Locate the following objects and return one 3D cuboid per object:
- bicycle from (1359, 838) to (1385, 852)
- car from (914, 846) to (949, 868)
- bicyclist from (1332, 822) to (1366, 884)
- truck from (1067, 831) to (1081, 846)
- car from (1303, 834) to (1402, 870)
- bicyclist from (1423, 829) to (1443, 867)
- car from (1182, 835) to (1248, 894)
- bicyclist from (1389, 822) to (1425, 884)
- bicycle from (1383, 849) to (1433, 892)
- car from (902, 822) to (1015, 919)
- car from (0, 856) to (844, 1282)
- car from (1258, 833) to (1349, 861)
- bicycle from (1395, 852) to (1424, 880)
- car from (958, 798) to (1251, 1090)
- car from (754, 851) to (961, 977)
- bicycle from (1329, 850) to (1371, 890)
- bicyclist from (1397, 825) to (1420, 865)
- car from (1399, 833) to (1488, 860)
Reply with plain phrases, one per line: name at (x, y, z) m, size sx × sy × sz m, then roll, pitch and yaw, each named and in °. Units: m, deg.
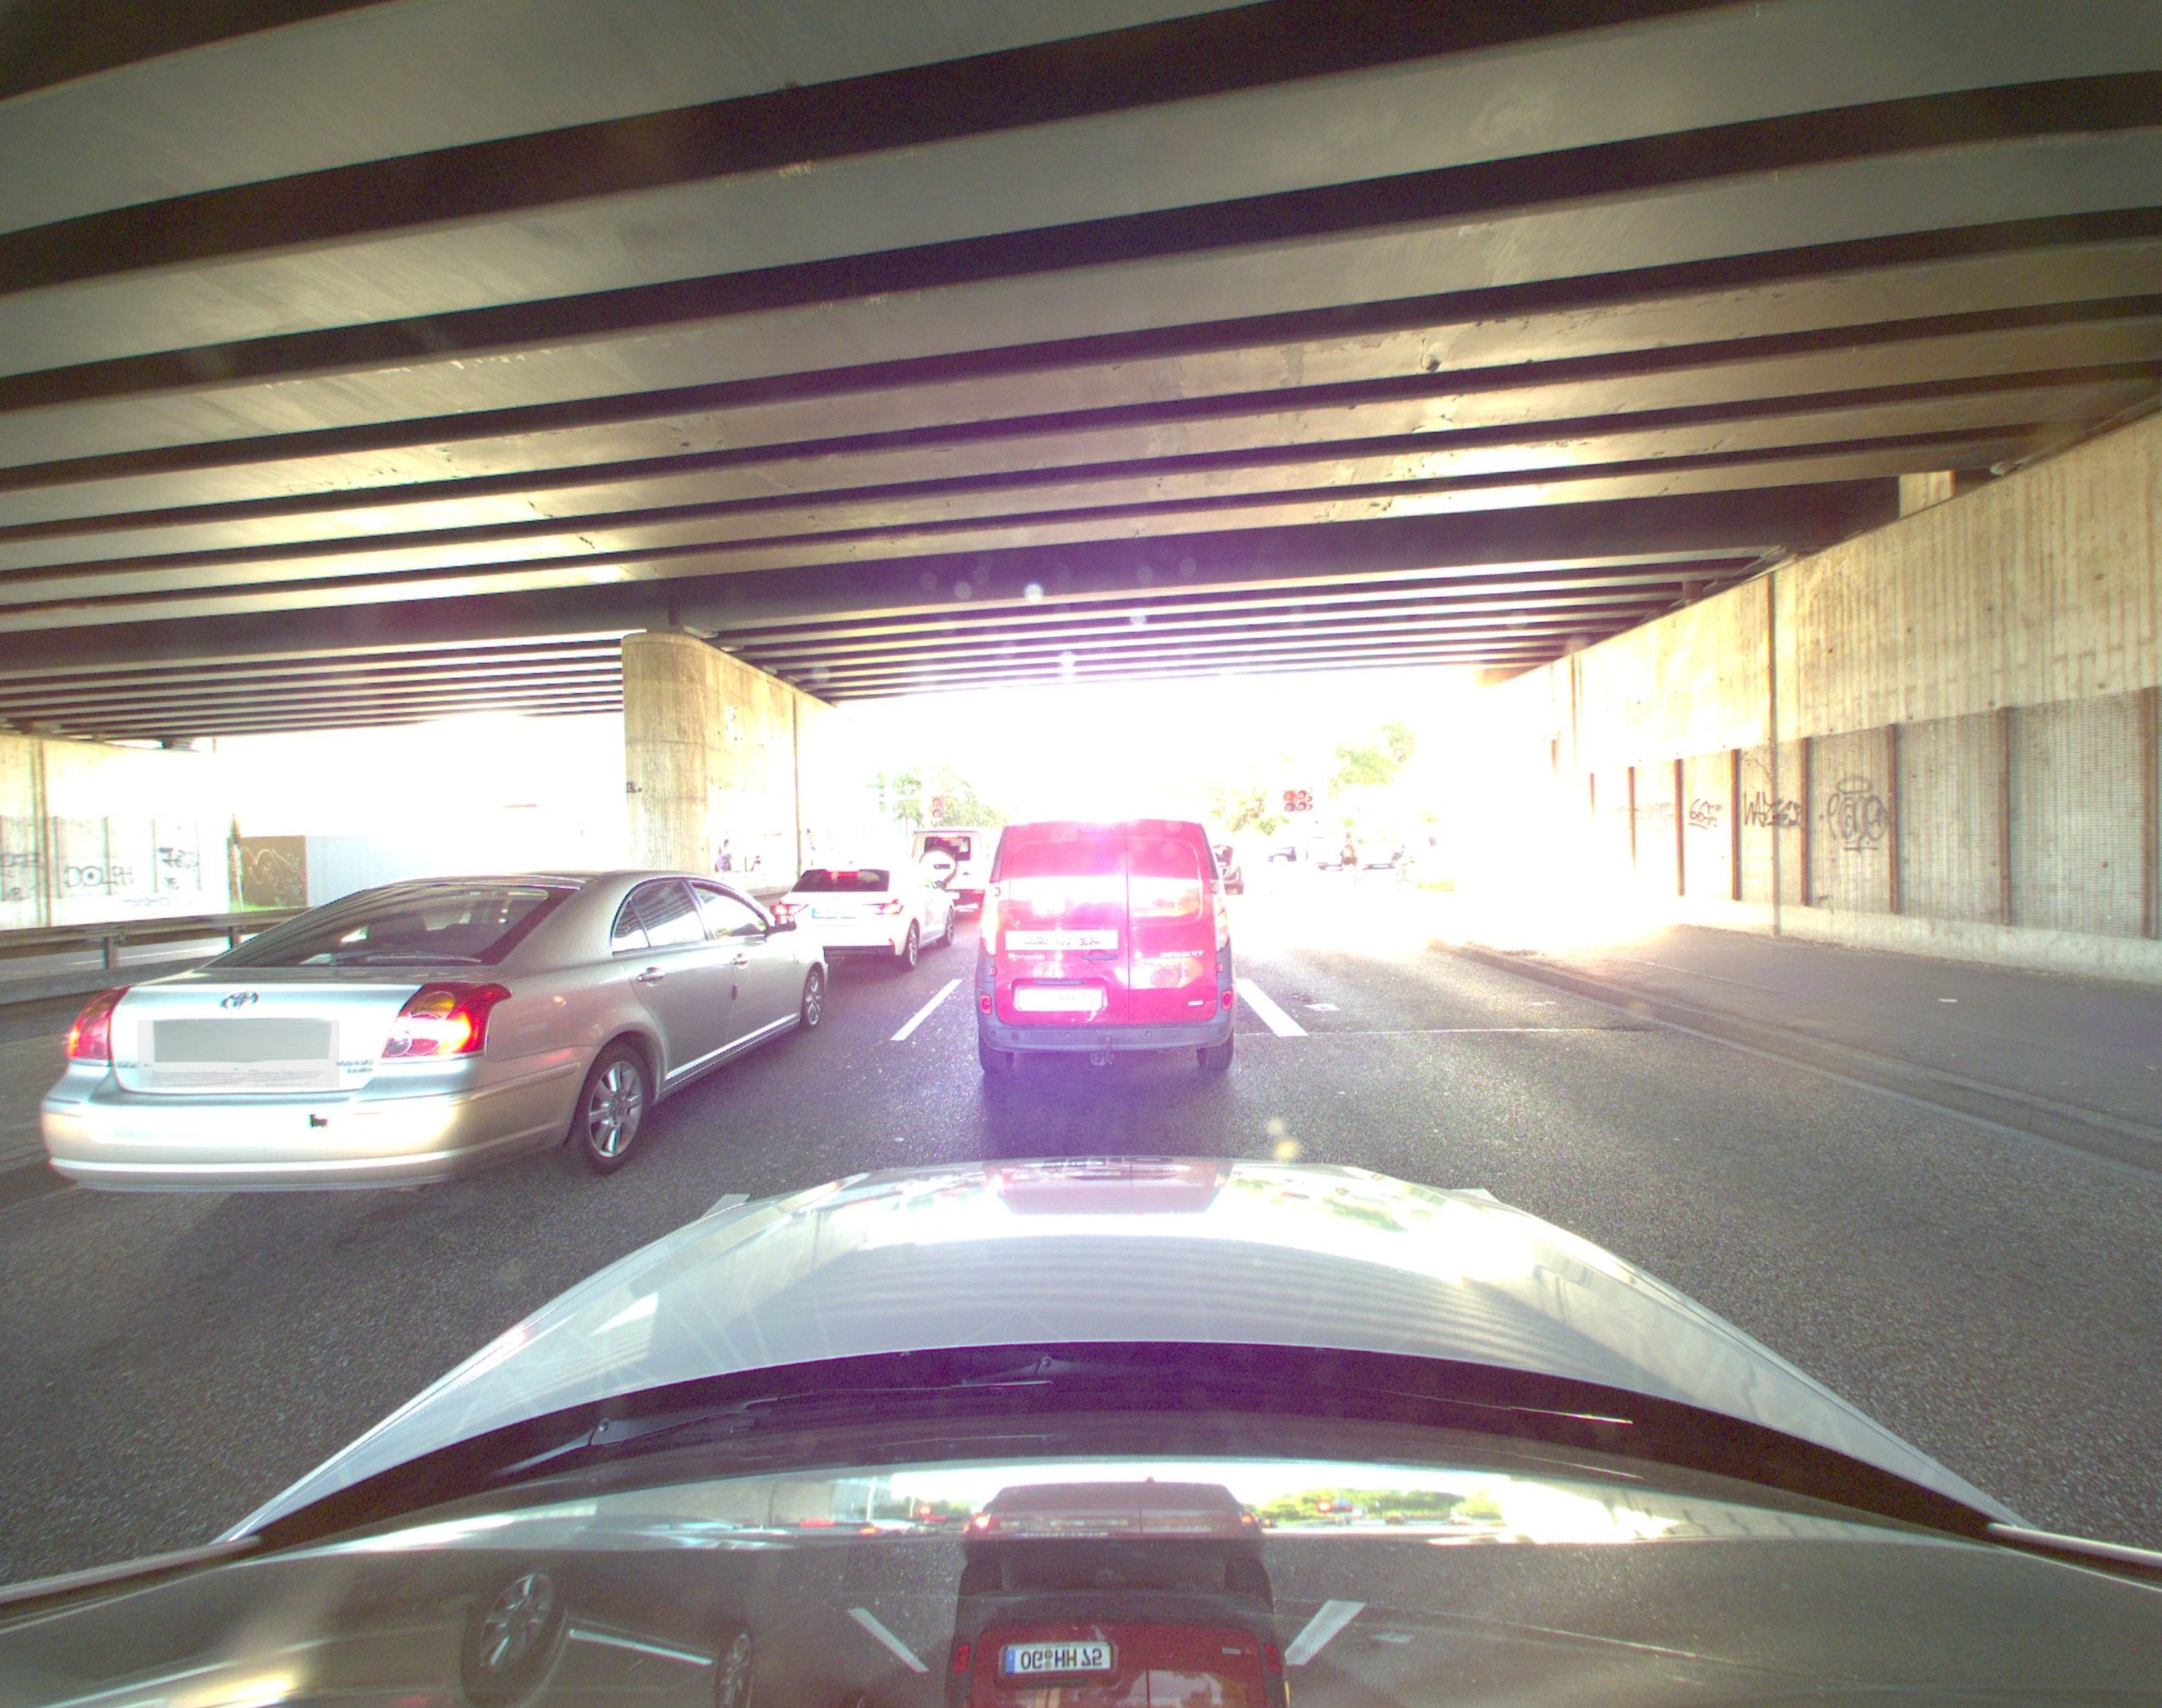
bicycle at (21.289, -0.639, 59.588) m, size 1.733 × 1.023 × 0.596 m, roll -1°, pitch -1°, yaw 13°
car at (-13.197, 0.247, 72.111) m, size 1.817 × 1.737 × 4.634 m, roll -4°, pitch 0°, yaw 4°
bicyclist at (7.138, -0.017, 21.712) m, size 0.589 × 1.613 × 0.943 m, roll 0°, pitch -1°, yaw 2°
truck at (-1.526, -3.301, 175.788) m, size 2.399 × 3.026 × 6.661 m, roll -4°, pitch 0°, yaw 3°
car at (12.641, -0.106, 37.857) m, size 4.198 × 1.543 × 1.872 m, roll -1°, pitch 0°, yaw -24°
bicyclist at (13.821, -0.234, 31.986) m, size 0.644 × 1.480 × 0.621 m, roll -1°, pitch 1°, yaw 20°
car at (4.153, 0.307, 25.729) m, size 1.711 × 1.706 × 3.986 m, roll -1°, pitch 0°, yaw 4°
bicyclist at (8.239, -0.016, 20.604) m, size 0.589 × 1.548 × 0.769 m, roll 0°, pitch -1°, yaw 1°
bicycle at (8.243, 0.402, 20.605) m, size 0.589 × 1.023 × 1.751 m, roll 0°, pitch -1°, yaw 2°
car at (-2.710, 0.360, 19.039) m, size 1.794 × 1.989 × 4.591 m, roll 0°, pitch -1°, yaw 2°
car at (-3.005, 0.774, 5.082) m, size 1.727 × 1.480 × 4.319 m, roll -1°, pitch 0°, yaw 0°
car at (12.351, -0.372, 45.361) m, size 4.538 × 1.514 × 1.826 m, roll 0°, pitch -1°, yaw -4°
bicycle at (12.401, 0.437, 30.816) m, size 0.667 × 1.023 × 2.062 m, roll -1°, pitch -1°, yaw 12°
car at (0.205, 0.571, 7.027) m, size 1.798 × 1.794 × 4.001 m, roll 0°, pitch -1°, yaw 2°
car at (-2.949, 0.716, 11.588) m, size 1.807 × 1.438 × 3.732 m, roll -1°, pitch 1°, yaw 1°
bicycle at (7.157, 0.419, 21.711) m, size 0.589 × 1.023 × 1.751 m, roll 0°, pitch -1°, yaw 2°
bicyclist at (12.397, -0.339, 30.871) m, size 0.661 × 1.474 × 0.753 m, roll -1°, pitch -1°, yaw 10°
car at (21.389, -0.417, 48.186) m, size 4.521 × 1.514 × 1.832 m, roll 0°, pitch -1°, yaw 8°
